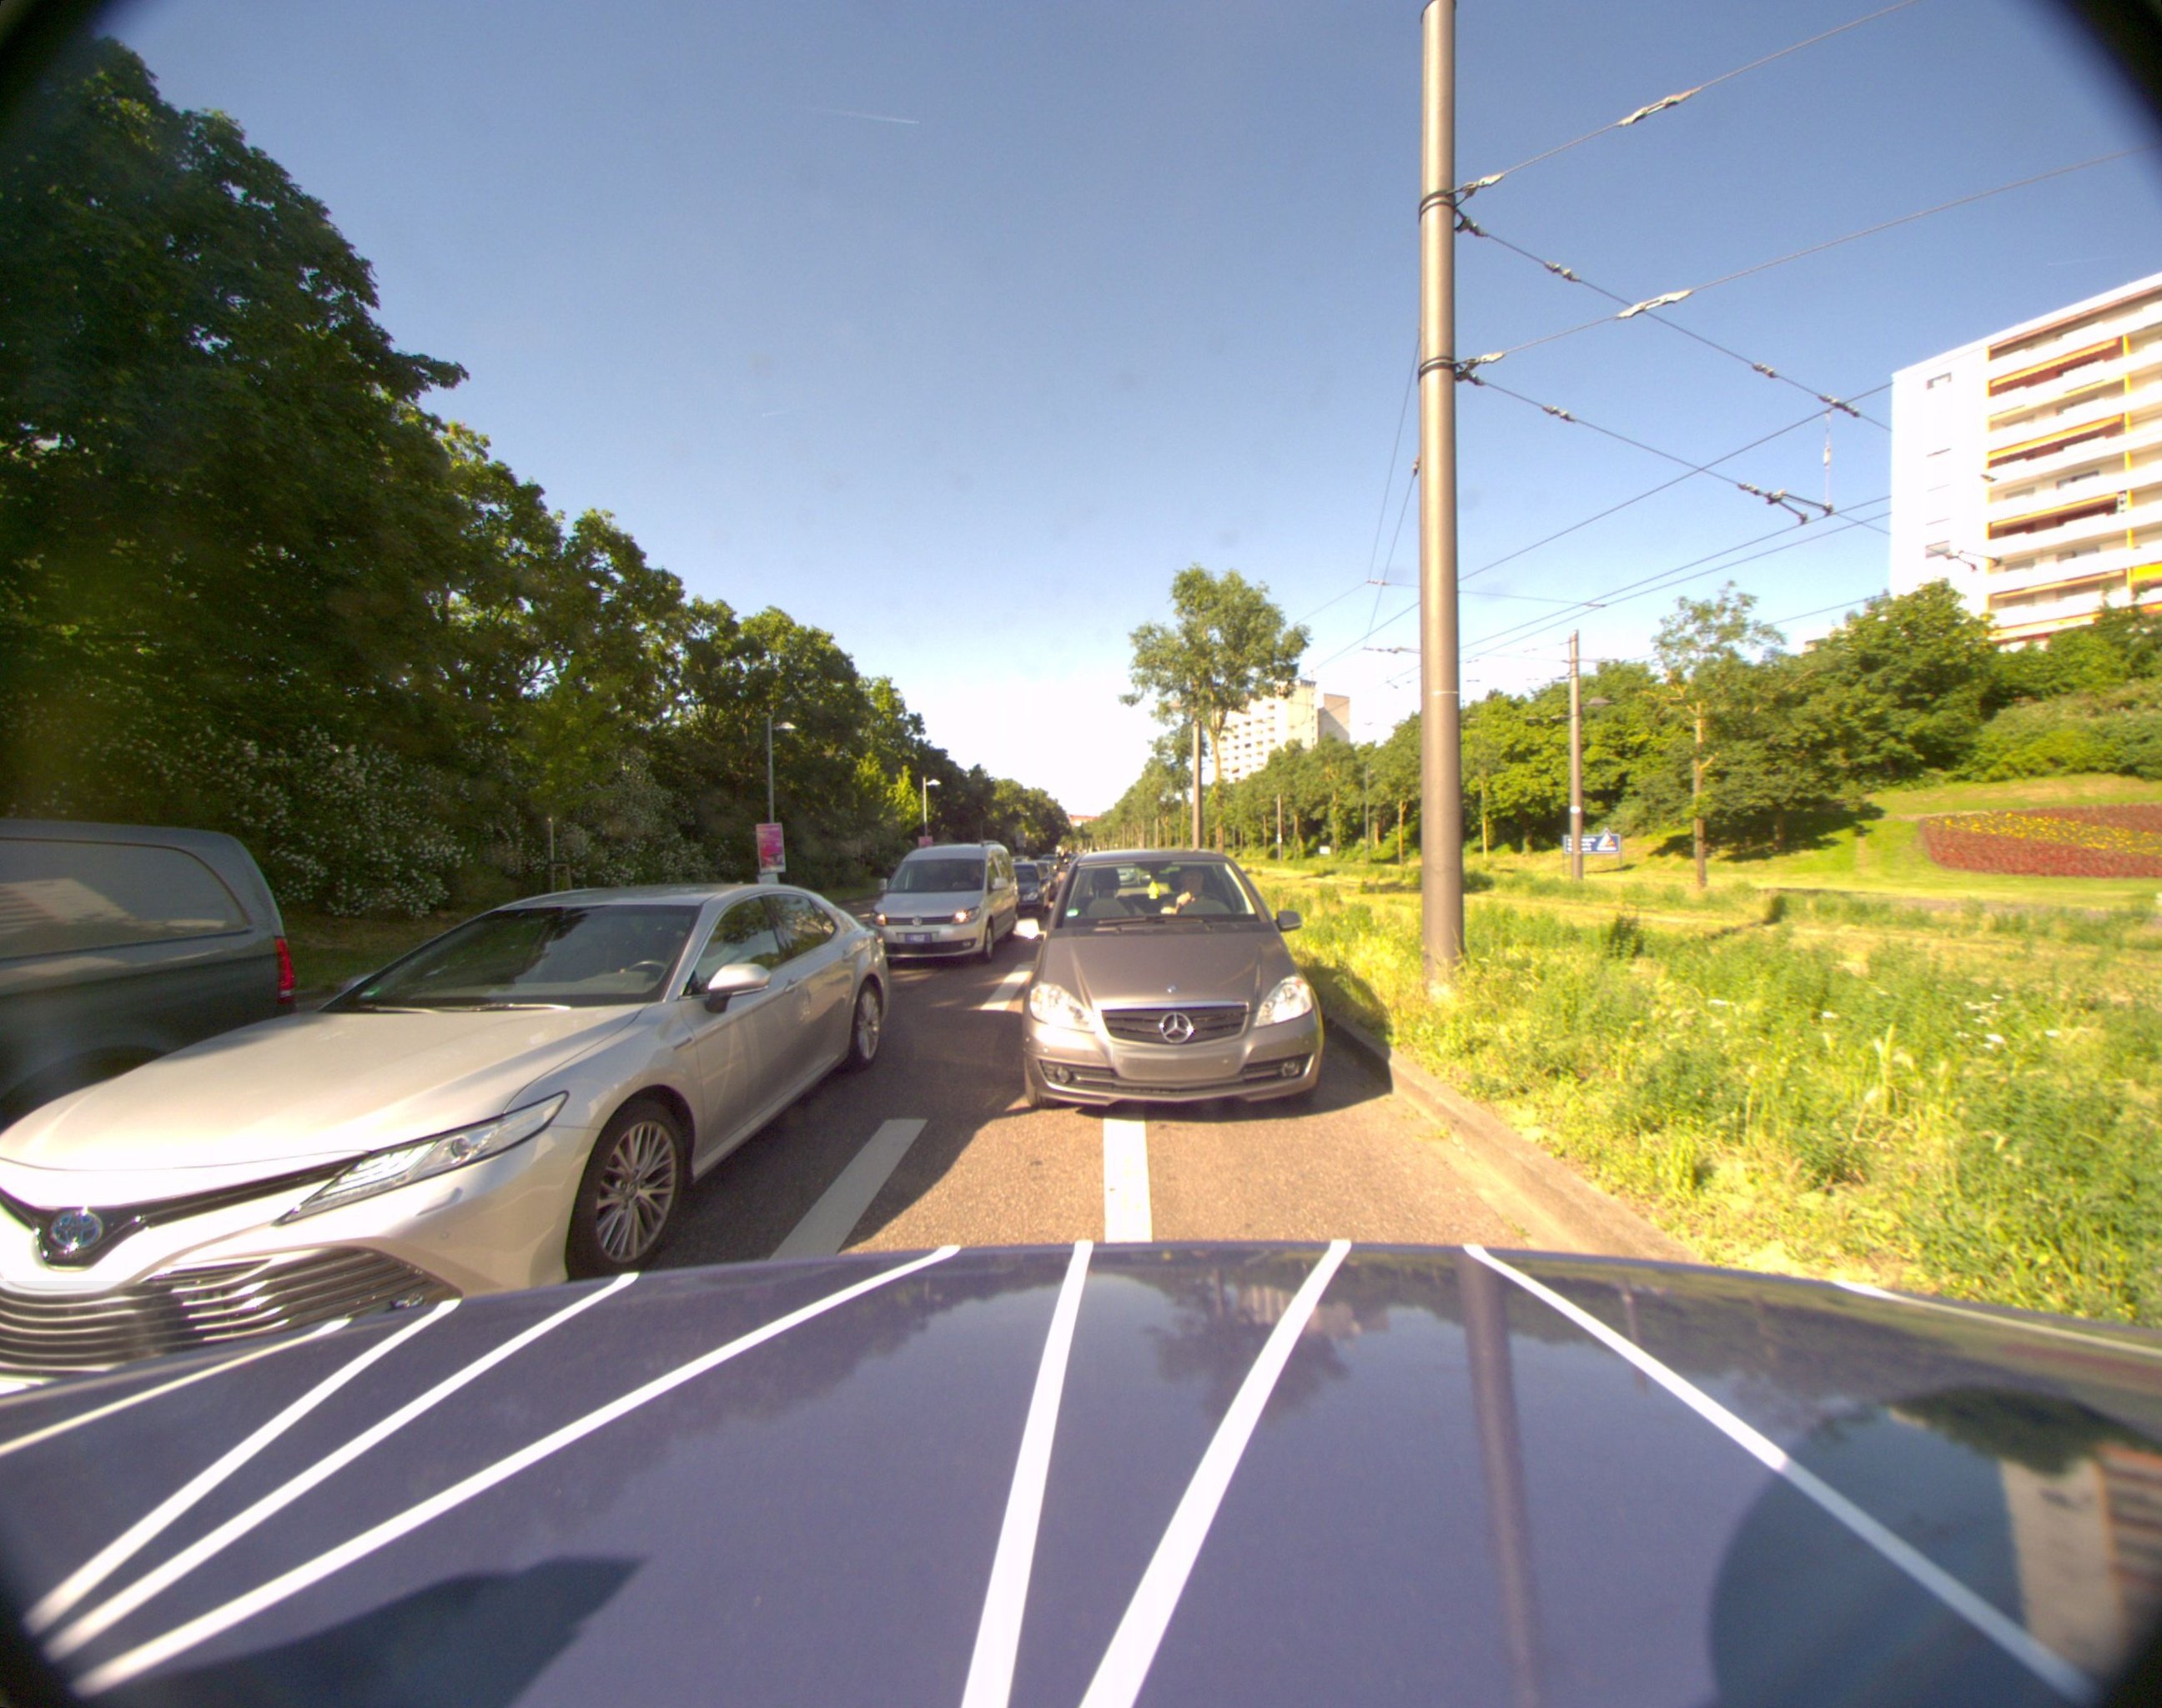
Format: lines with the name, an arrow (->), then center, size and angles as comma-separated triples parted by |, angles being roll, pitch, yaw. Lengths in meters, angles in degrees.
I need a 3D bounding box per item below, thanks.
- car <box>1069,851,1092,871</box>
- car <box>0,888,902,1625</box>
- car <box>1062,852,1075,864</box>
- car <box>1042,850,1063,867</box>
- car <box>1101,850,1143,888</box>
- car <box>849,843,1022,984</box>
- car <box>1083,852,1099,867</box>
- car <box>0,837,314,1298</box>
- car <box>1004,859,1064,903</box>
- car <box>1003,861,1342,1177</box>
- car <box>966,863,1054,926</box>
car -> 0.006, 0.531, 62.274 | 1.777, 1.597, 4.384 | -1, 0, 1
car -> -2.646, 1.045, 4.131 | 2.069, 1.451, 4.749 | -1, 0, 2
car -> -1.816, 0.540, 109.151 | 1.777, 1.597, 4.300 | -1, 0, 1
car -> -2.652, 0.416, 72.258 | 1.777, 1.597, 4.384 | -1, 0, 1
car -> 1.837, 0.650, 35.222 | 1.777, 1.597, 4.384 | -1, 0, 1
car -> -2.155, 0.794, 12.629 | 1.822, 1.893, 4.622 | -1, 0, 2
car -> 1.113, 0.633, 85.847 | 1.777, 1.597, 4.384 | -1, 0, 1
car -> -5.455, 0.892, 1.770 | 1.998, 1.882, 5.148 | -1, 0, 1
car -> -1.612, 0.912, 27.538 | 1.776, 1.395, 4.067 | -1, 0, 2
car -> 0.514, 0.895, 6.215 | 1.777, 1.597, 4.384 | -1, 0, 1
car -> -1.725, 0.967, 19.724 | 1.776, 1.395, 4.067 | -1, 0, 2
